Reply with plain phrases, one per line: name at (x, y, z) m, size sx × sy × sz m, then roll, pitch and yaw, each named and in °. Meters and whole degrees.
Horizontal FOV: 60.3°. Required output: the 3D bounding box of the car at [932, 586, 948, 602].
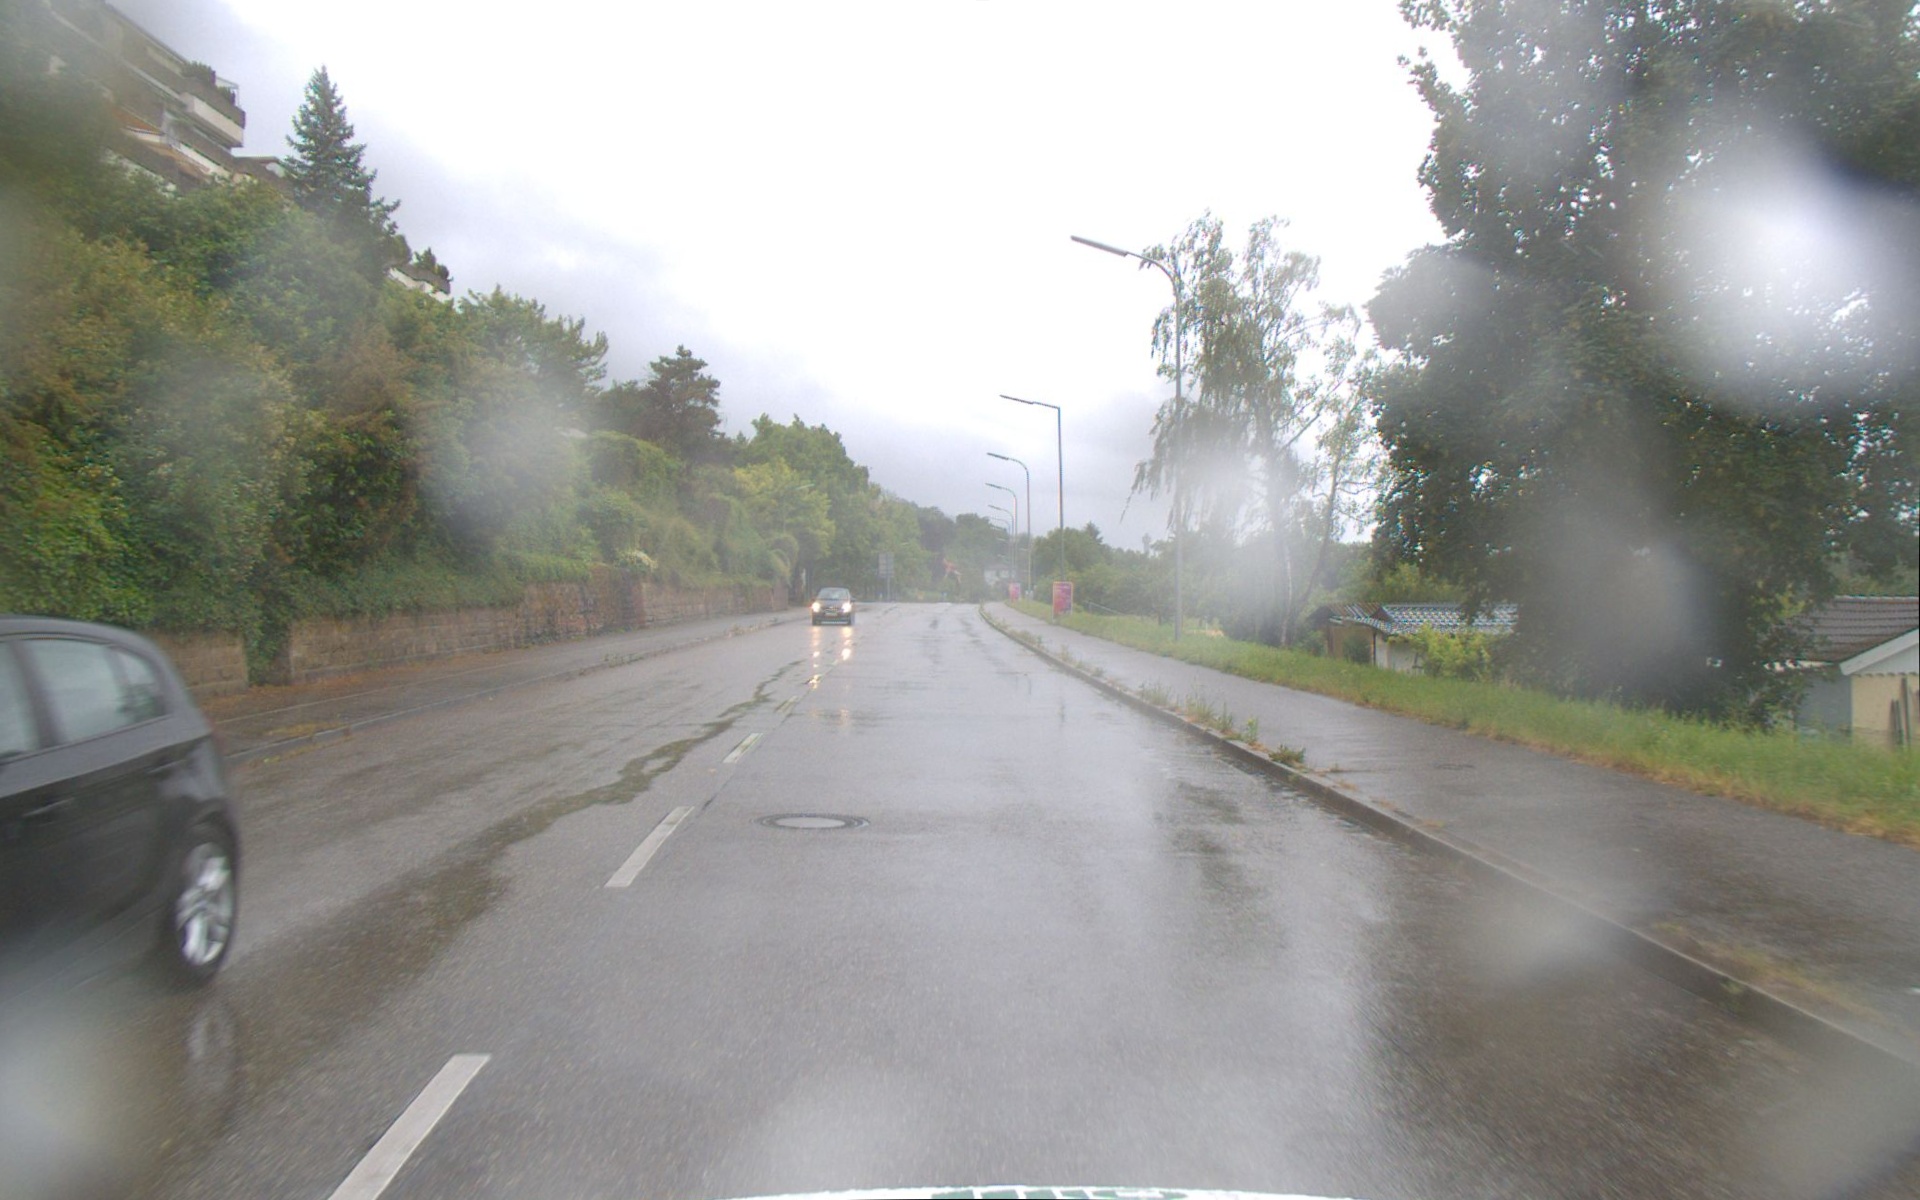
car at (-2.584, -0.790, 211.687) m, size 1.953 × 2.049 × 3.999 m, roll 0°, pitch 0°, yaw -1°

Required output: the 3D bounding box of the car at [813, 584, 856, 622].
car at (-5.277, 0.121, 69.848) m, size 1.725 × 1.522 × 4.125 m, roll -1°, pitch 0°, yaw -3°

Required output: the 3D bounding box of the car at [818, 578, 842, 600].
car at (-9.506, -0.799, 121.111) m, size 1.693 × 1.522 × 3.984 m, roll -1°, pitch 0°, yaw -4°

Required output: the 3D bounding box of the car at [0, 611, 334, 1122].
car at (-3.508, 0.750, 5.409) m, size 1.622 × 1.375 × 3.984 m, roll -1°, pitch 0°, yaw -4°
